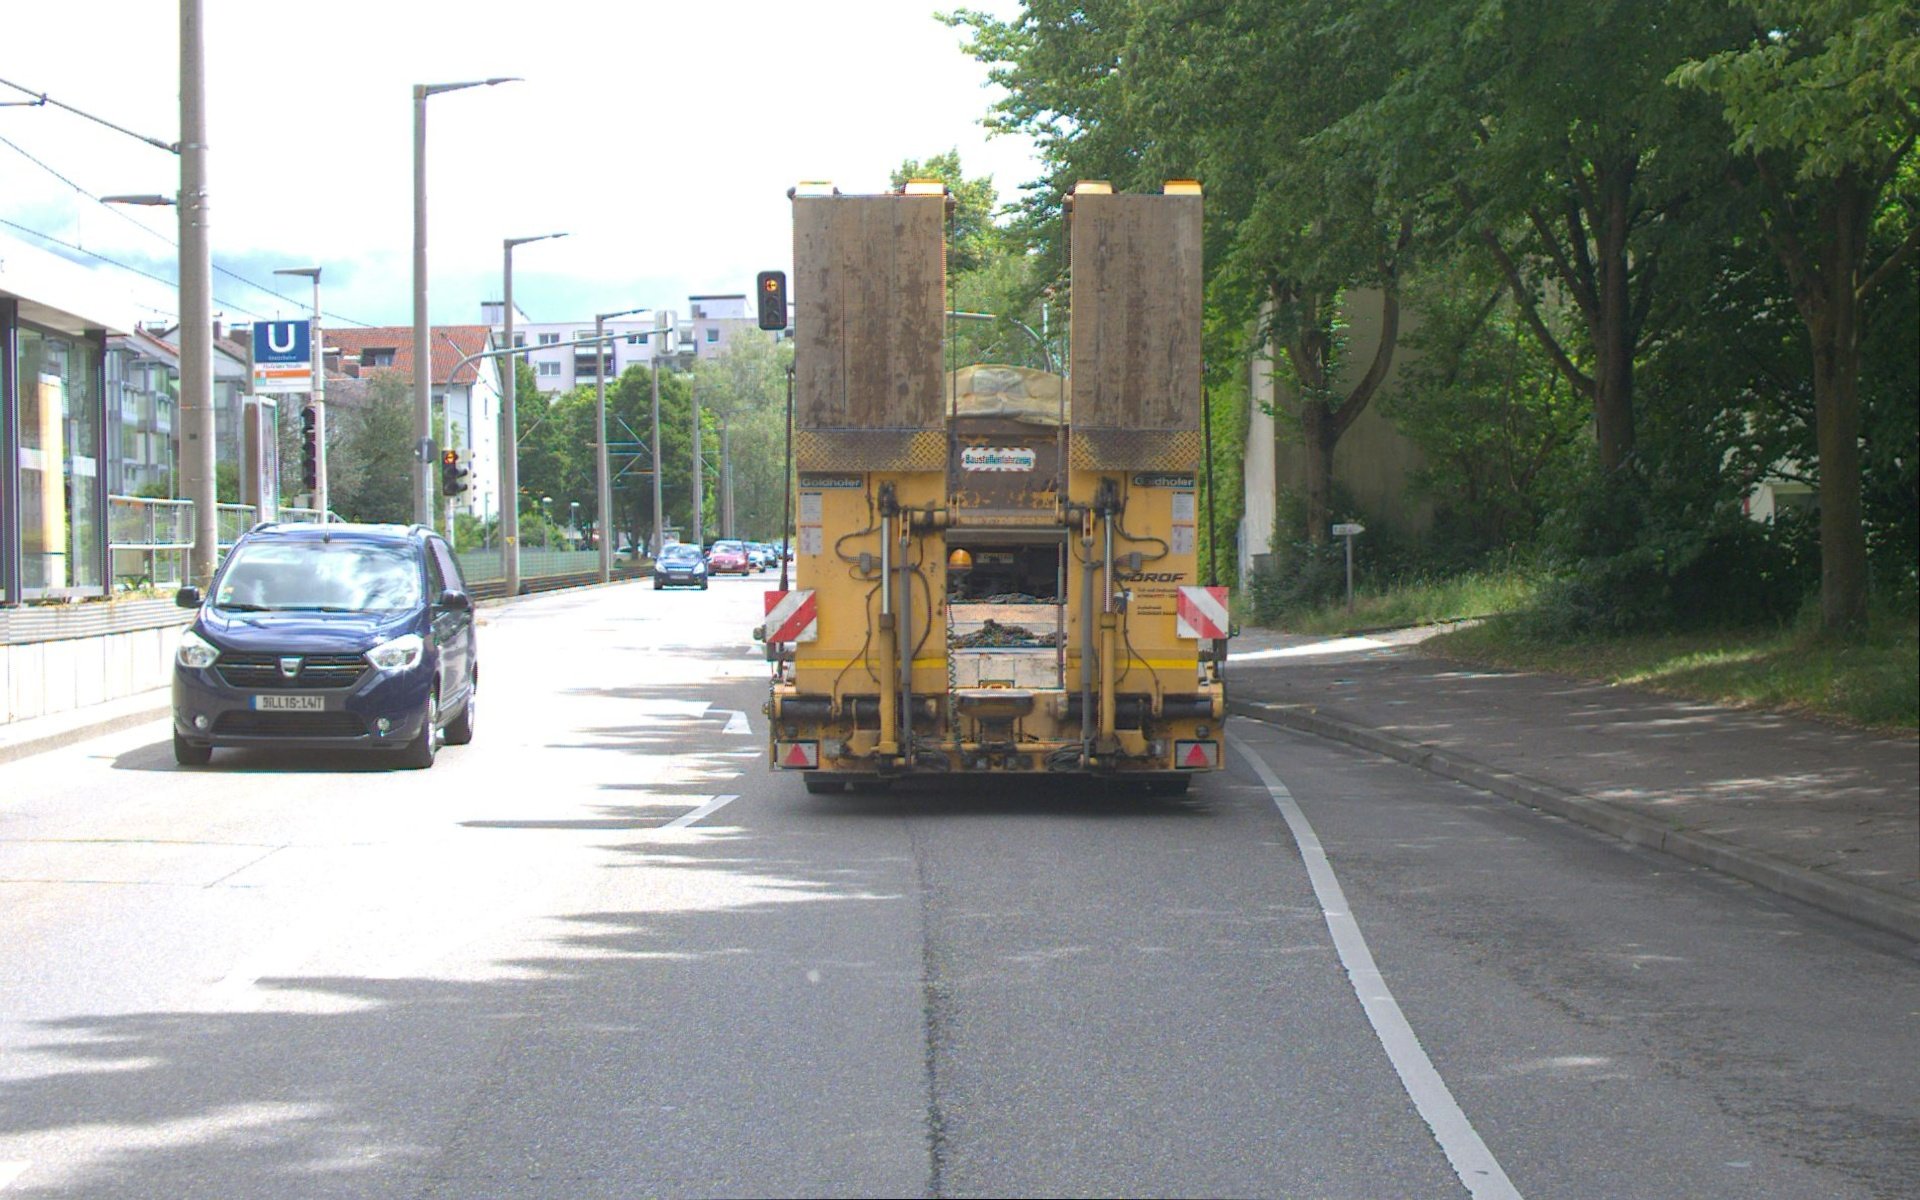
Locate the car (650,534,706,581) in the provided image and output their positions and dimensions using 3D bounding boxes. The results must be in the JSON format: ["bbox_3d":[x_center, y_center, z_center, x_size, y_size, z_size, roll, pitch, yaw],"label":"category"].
[{"bbox_3d":[-9.044,-1.342,110.291,1.667,1.448,3.679,1,0,-3],"label":"car"}]

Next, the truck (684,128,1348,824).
[{"bbox_3d":[-0.227,-0.806,25.382,3.402,3.719,13.741,-1,1,-5],"label":"truck"}]

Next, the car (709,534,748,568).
[{"bbox_3d":[-10.319,-2.182,153.506,1.667,1.448,3.679,1,0,-3],"label":"car"}]

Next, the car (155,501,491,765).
[{"bbox_3d":[-4.408,0.174,24.370,1.720,1.676,4.388,1,1,-3],"label":"car"}]
